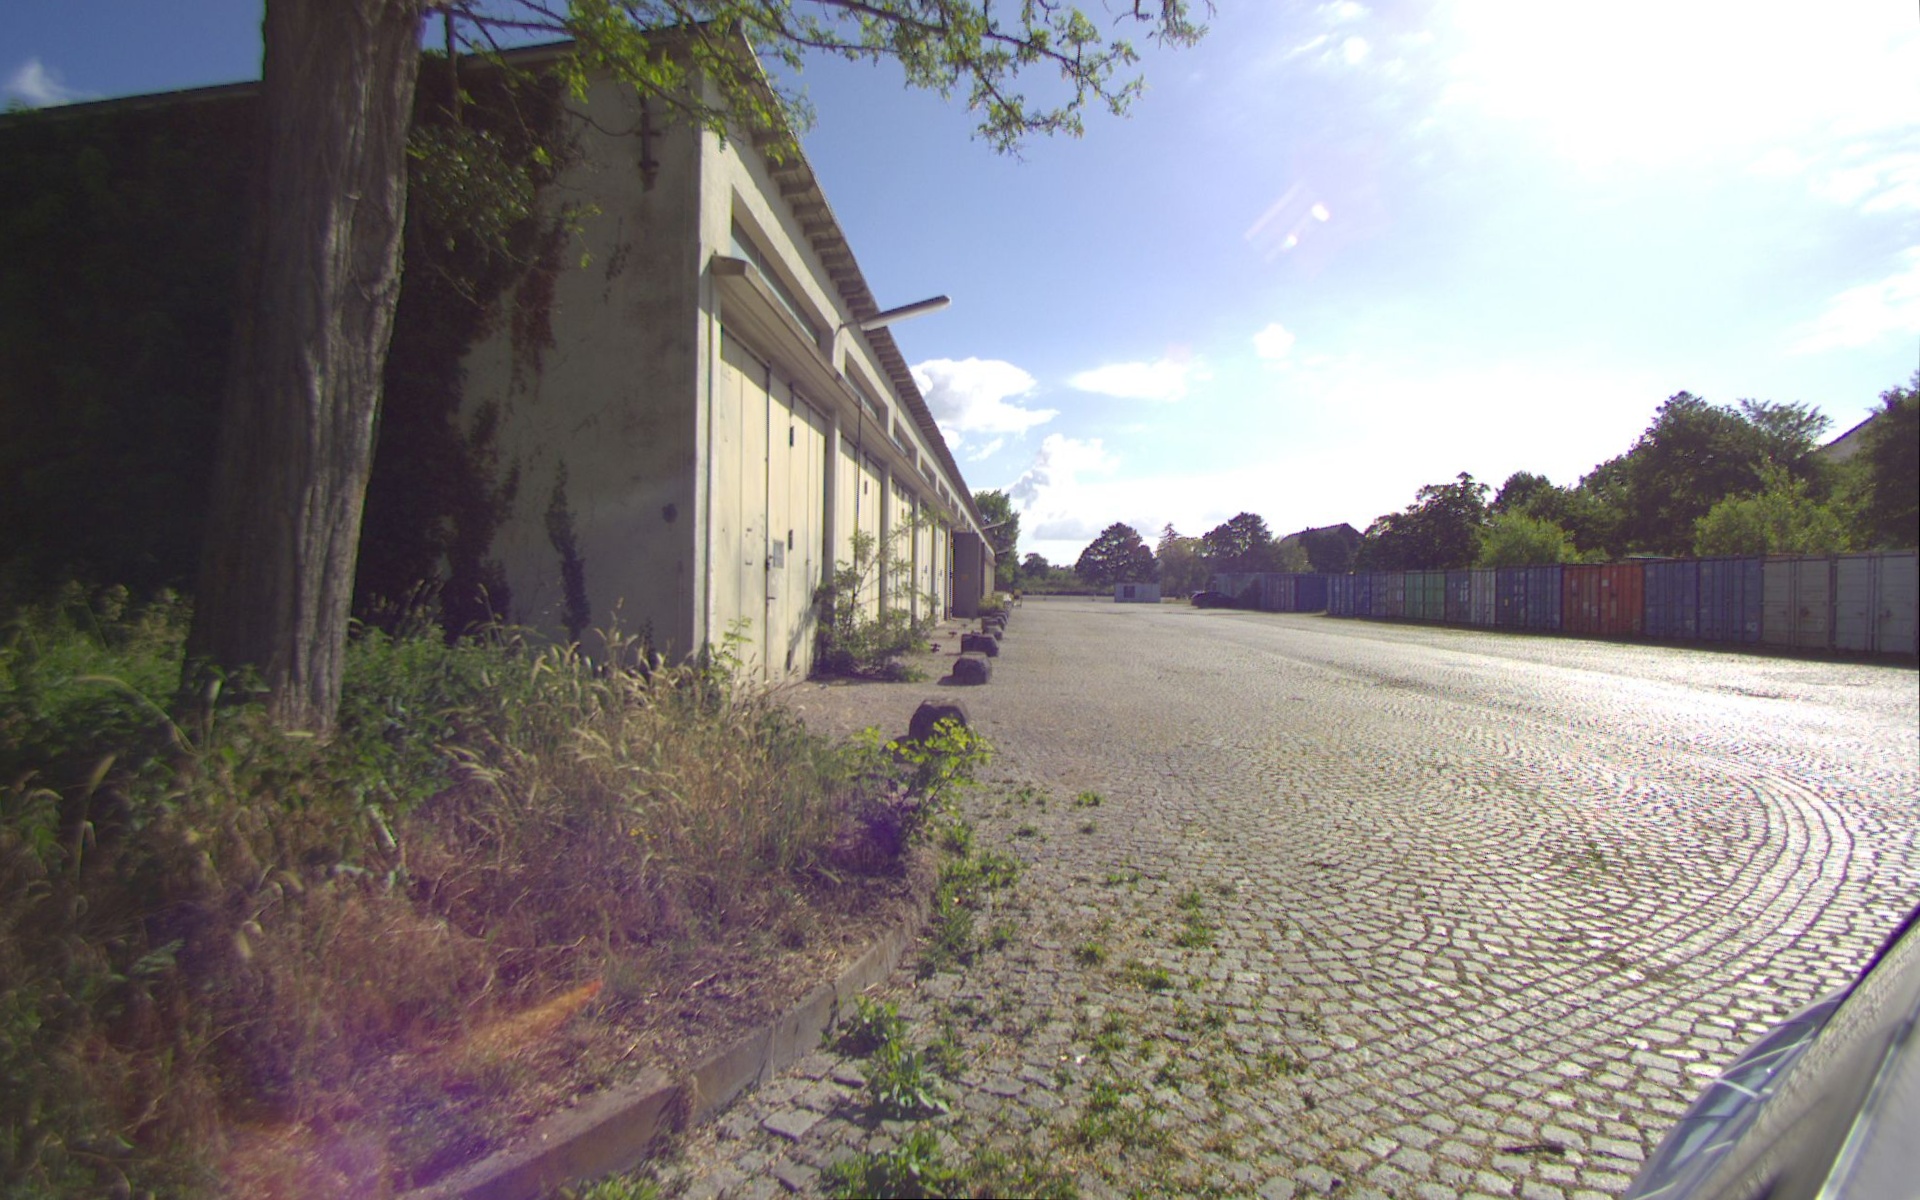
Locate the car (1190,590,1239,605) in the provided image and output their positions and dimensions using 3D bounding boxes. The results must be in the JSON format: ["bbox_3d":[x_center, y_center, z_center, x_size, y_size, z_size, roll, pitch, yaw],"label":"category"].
[{"bbox_3d":[21.841,-0.241,86.798,3.805,1.282,1.590,0,0,2],"label":"car"}]
